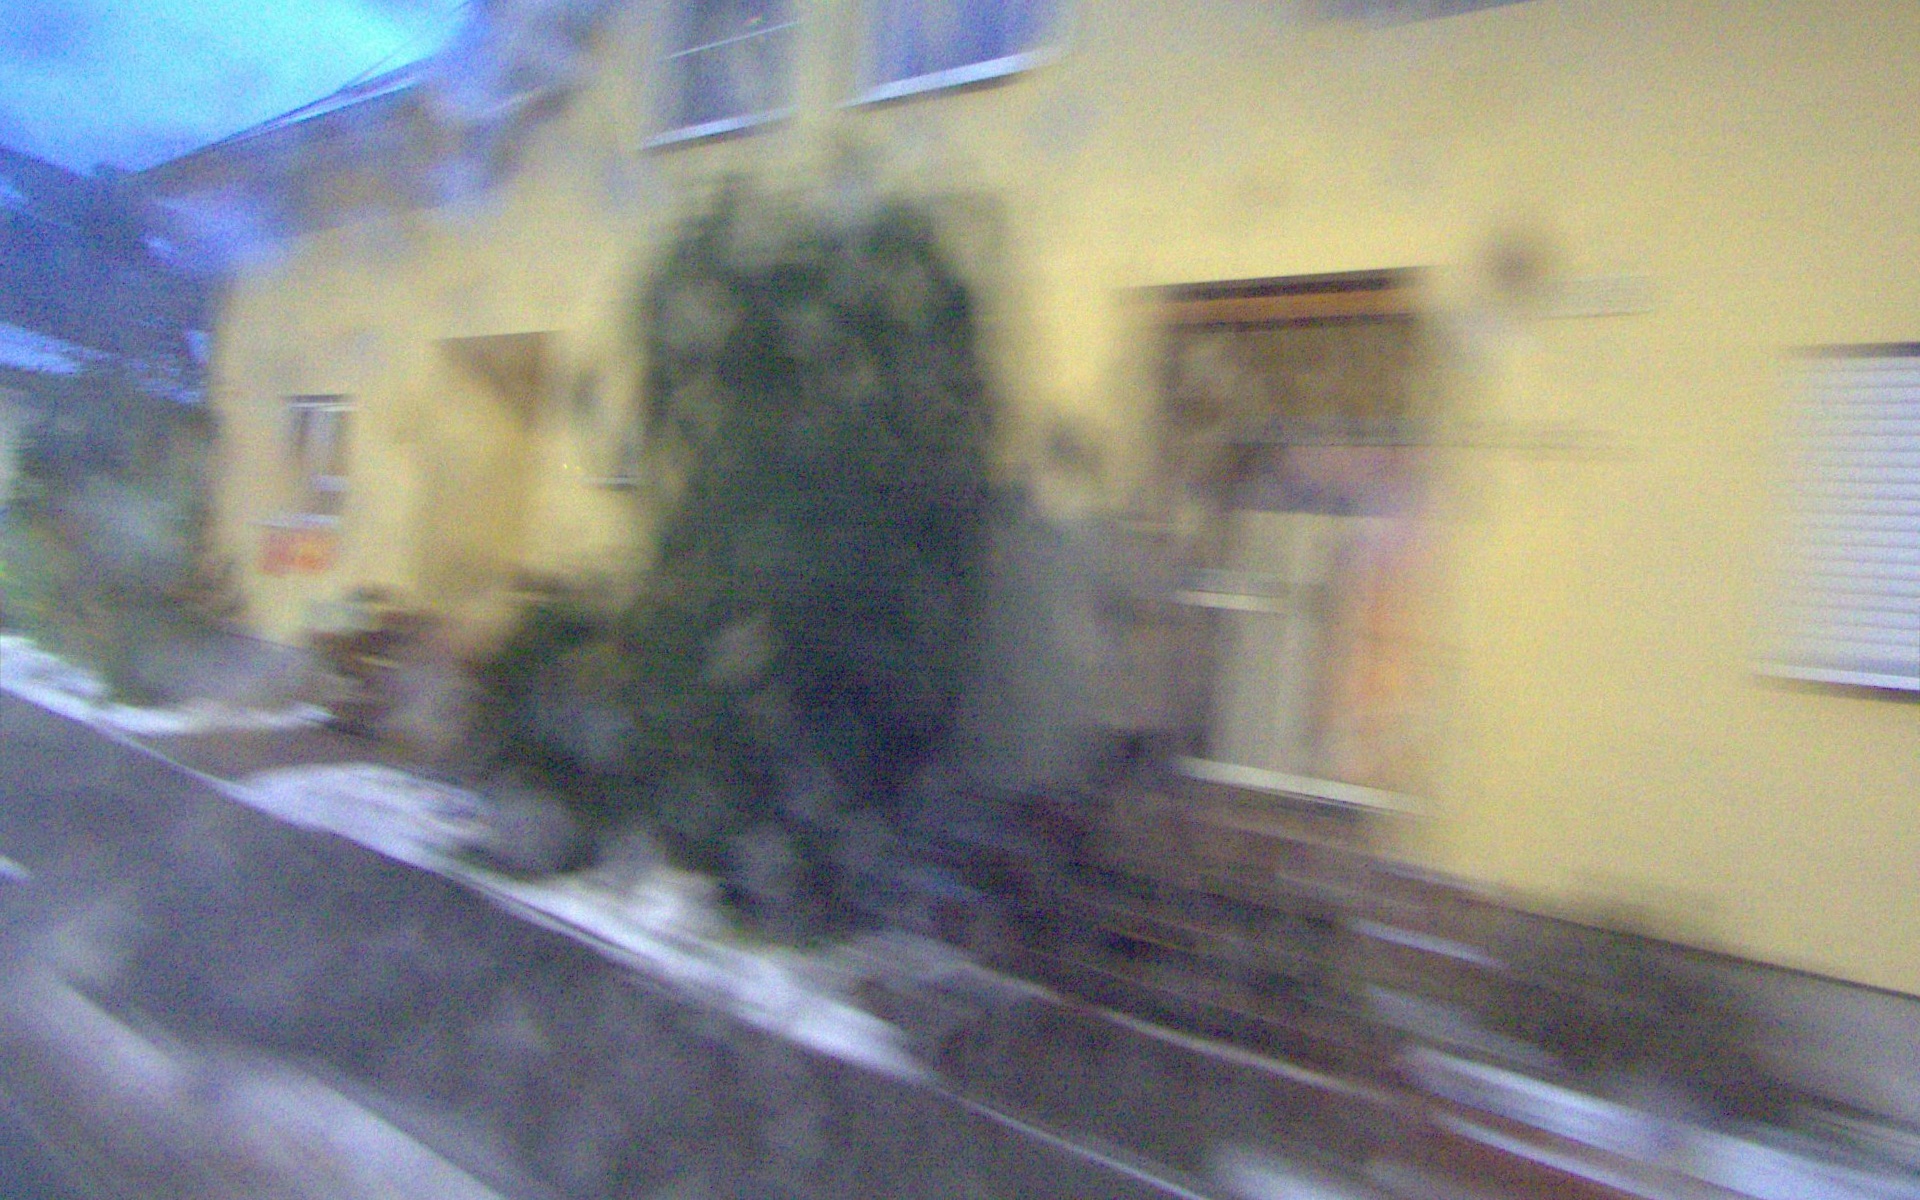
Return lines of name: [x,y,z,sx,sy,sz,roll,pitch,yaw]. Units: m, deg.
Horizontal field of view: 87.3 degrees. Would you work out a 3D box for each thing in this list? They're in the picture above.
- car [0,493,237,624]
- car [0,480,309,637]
car: [-12.859,-0.682,13.873,1.867,1.449,4.185,8,-3,27]
car: [-10.443,-0.511,12.224,1.789,1.514,3.752,8,-1,26]
